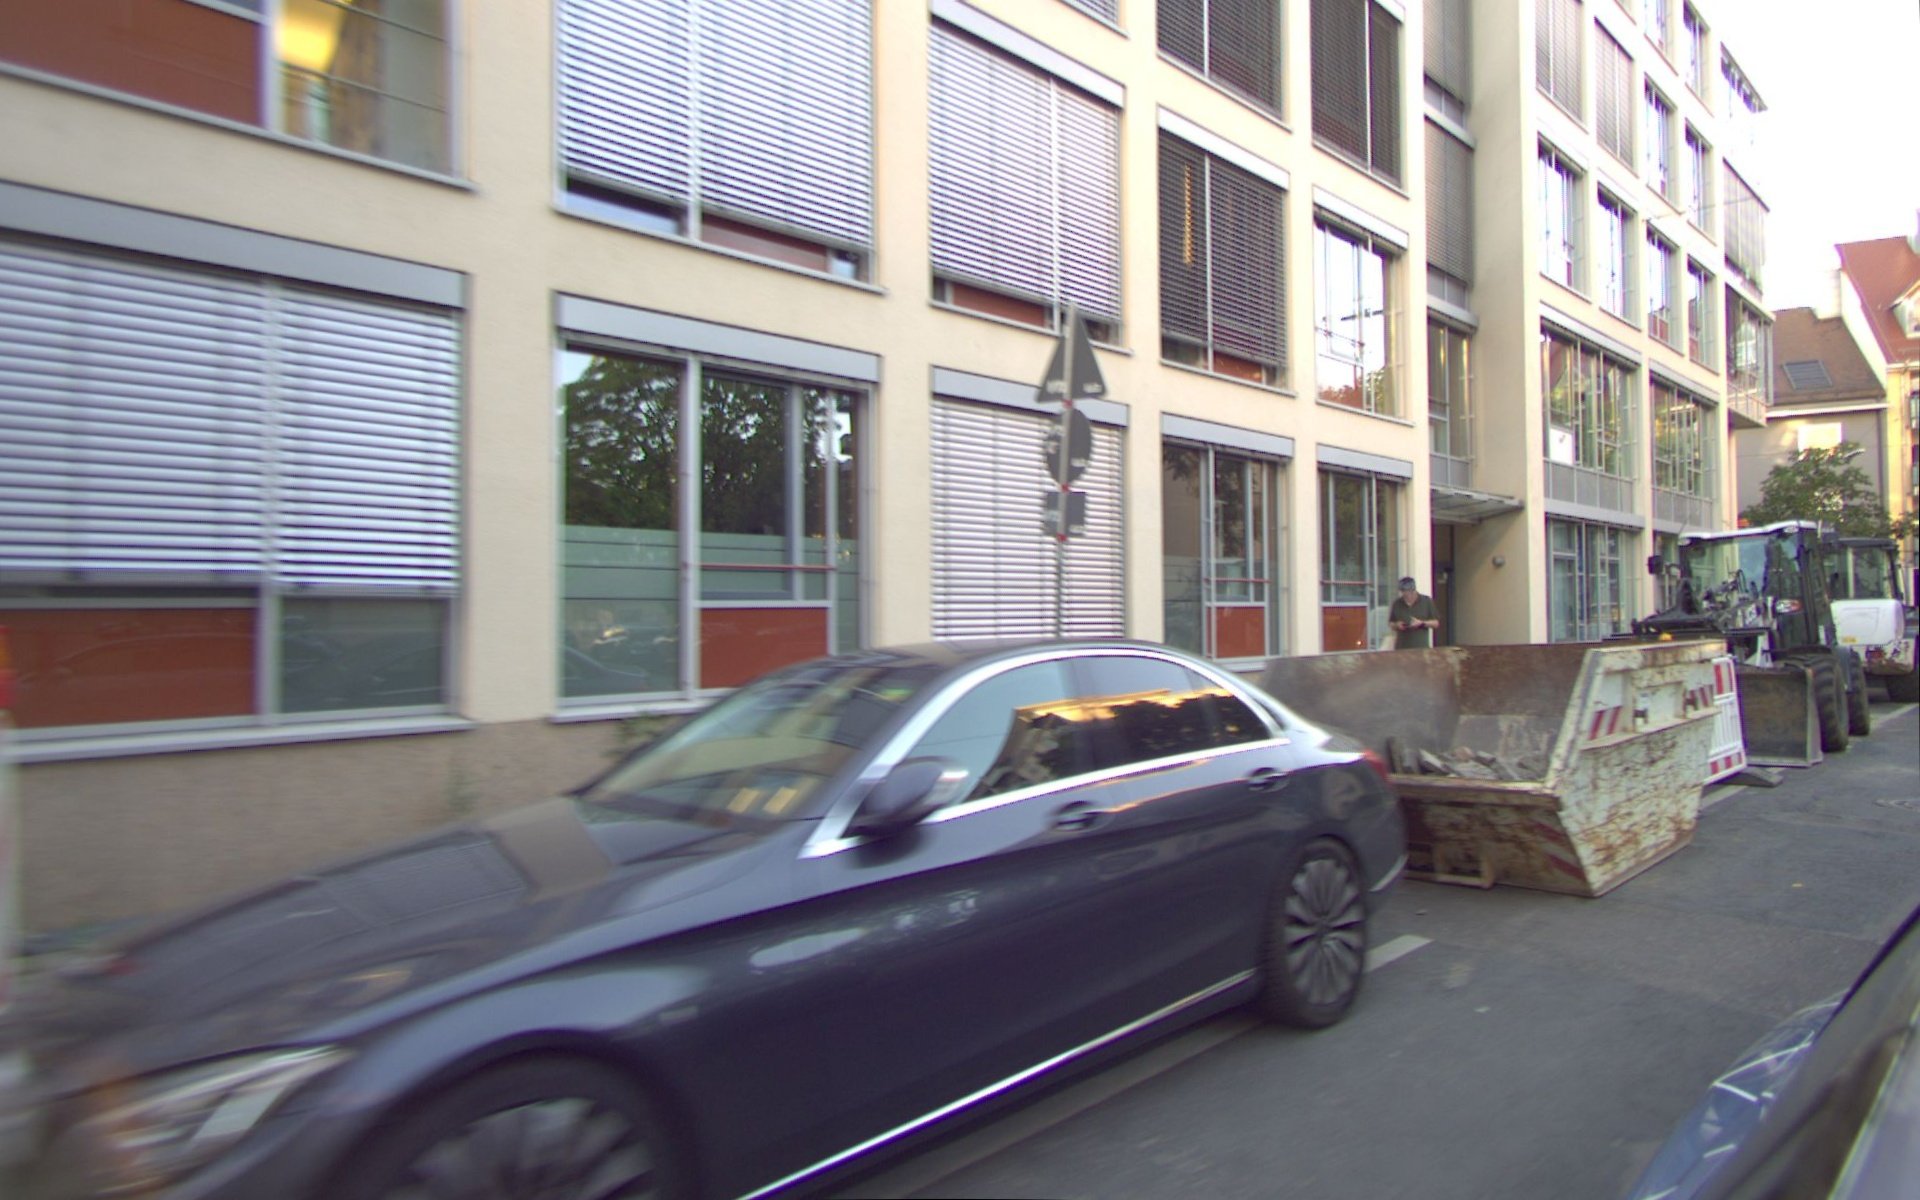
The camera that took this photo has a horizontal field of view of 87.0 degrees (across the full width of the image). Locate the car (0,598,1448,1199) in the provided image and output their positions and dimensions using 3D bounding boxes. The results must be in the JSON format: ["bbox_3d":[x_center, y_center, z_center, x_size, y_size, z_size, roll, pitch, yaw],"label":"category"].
[{"bbox_3d":[-0.264,0.787,3.418,4.367,1.491,1.789,0,-3,-41],"label":"car"}]

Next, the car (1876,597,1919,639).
[{"bbox_3d":[37.392,0.676,39.400,1.617,1.468,3.822,0,2,27],"label":"car"}]

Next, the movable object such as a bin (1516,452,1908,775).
[{"bbox_3d":[8.318,0.174,10.937,5.648,2.658,2.019,1,-4,-40],"label":"movable object such as a bin"}]

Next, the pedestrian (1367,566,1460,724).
[{"bbox_3d":[5.519,0.518,12.317,0.709,1.842,0.806,0,-1,-41],"label":"pedestrian"}]

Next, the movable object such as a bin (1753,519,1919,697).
[{"bbox_3d":[15.950,0.151,17.690,5.648,2.657,2.019,0,-3,-40],"label":"movable object such as a bin"}]
